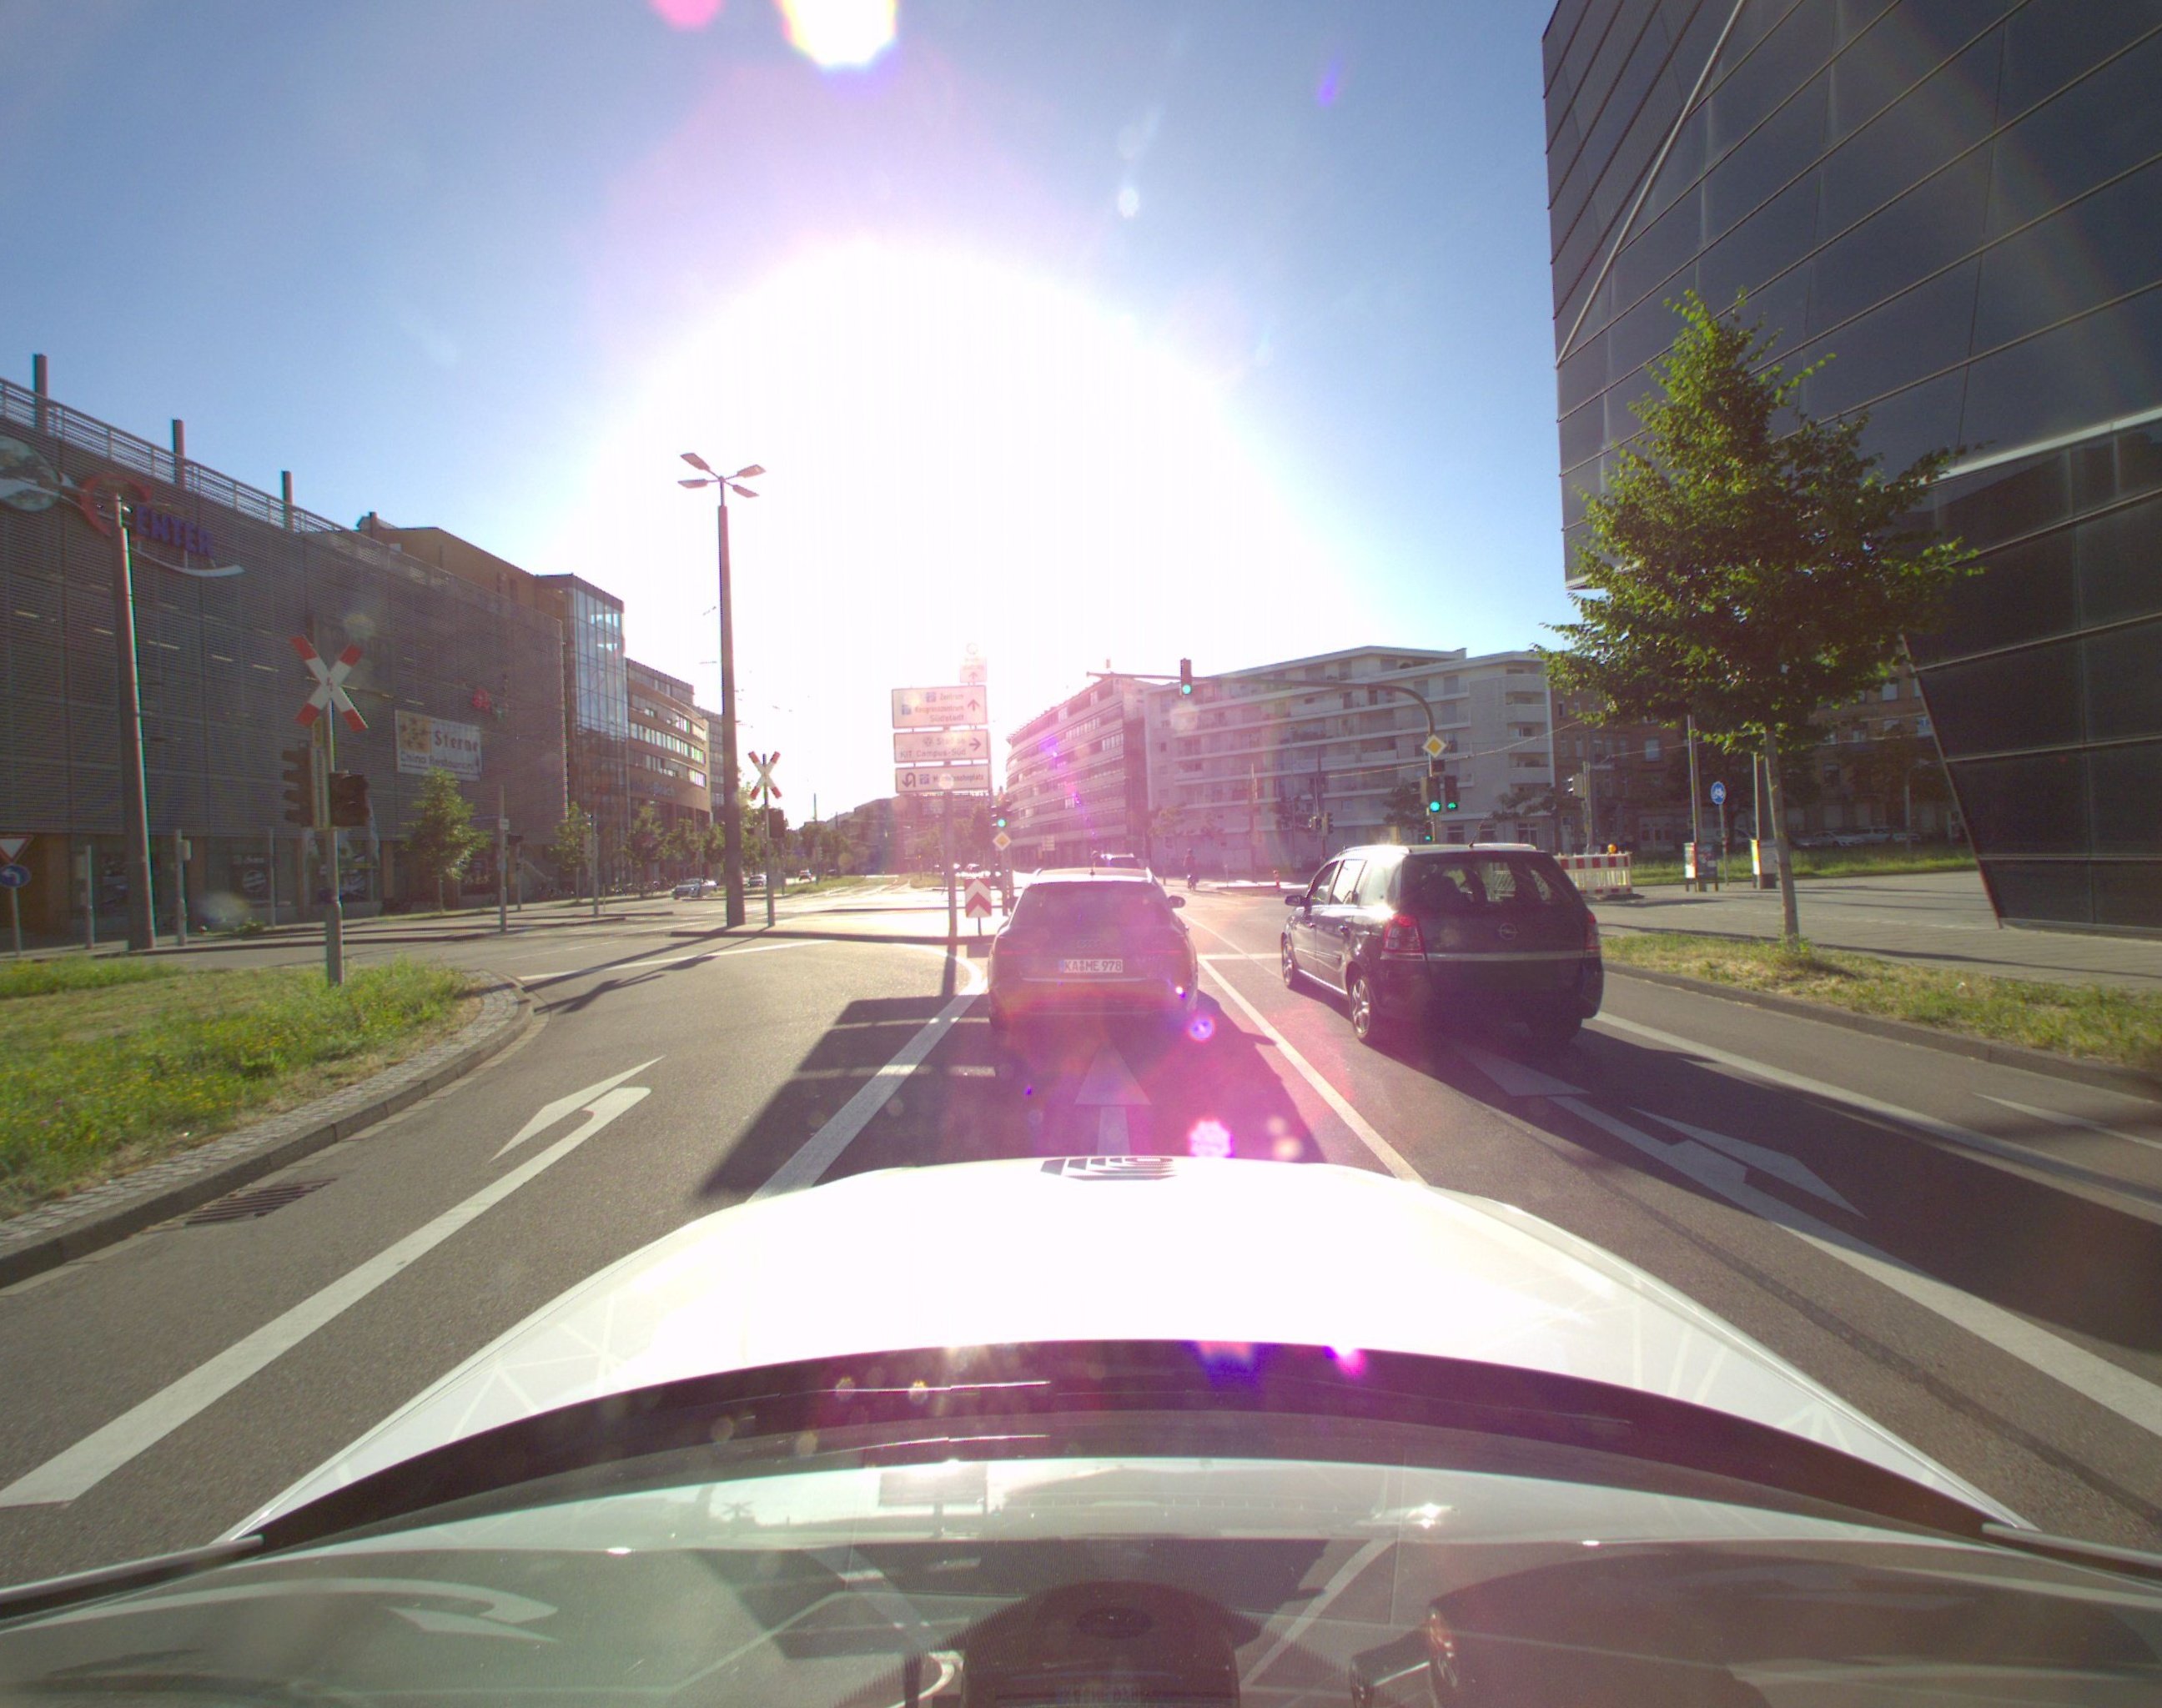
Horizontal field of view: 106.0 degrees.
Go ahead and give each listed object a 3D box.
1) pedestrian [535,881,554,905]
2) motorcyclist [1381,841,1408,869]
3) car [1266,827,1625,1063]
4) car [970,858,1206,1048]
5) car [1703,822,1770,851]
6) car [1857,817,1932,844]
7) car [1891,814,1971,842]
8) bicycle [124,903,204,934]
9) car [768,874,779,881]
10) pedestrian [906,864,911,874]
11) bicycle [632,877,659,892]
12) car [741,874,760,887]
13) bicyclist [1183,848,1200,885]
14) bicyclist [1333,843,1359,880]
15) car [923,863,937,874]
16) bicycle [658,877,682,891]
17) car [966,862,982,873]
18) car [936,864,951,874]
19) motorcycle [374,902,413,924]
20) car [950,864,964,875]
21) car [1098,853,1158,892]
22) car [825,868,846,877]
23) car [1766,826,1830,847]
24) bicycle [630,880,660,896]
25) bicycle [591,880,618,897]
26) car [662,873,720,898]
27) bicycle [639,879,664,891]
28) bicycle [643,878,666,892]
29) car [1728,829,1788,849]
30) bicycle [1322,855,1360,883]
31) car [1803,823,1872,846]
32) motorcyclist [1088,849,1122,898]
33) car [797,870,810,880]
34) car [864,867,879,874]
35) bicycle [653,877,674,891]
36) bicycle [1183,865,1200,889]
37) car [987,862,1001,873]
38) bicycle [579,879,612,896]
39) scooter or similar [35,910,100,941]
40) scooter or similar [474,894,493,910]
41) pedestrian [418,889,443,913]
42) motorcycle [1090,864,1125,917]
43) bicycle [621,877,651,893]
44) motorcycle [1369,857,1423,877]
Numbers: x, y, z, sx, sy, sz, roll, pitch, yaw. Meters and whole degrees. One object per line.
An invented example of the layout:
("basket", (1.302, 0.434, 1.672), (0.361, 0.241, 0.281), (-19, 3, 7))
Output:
("pedestrian", (-42.620, 3.101, 64.673), (0.823, 1.824, 0.905), (-3, -2, 3))
("motorcyclist", (17.170, 0.047, 44.640), (0.924, 1.481, 1.169), (-2, -1, -7))
("car", (3.108, 0.678, 8.012), (1.739, 1.696, 4.262), (0, -1, 2))
("car", (0.100, 0.788, 8.374), (1.835, 1.454, 4.001), (-1, 0, 1))
("car", (58.789, -1.549, 73.154), (4.543, 2.310, 2.013), (-3, -1, 38))
("car", (60.990, -1.716, 61.137), (1.981, 1.772, 4.012), (-3, -1, 11))
("car", (63.430, -1.902, 60.873), (1.982, 1.772, 4.009), (-3, -1, 8))
("bicycle", (-41.934, 2.928, 37.280), (0.796, 1.220, 2.418), (-2, -1, 5))
("car", (-75.628, 5.812, 200.322), (2.005, 1.684, 3.964), (-2, -1, -27))
("pedestrian", (-32.102, 2.716, 151.510), (0.904, 1.824, 0.825), (-3, -2, -16))
("bicycle", (-47.315, 3.294, 88.549), (2.591, 1.433, 0.773), (-3, -1, 10))
("car", (-38.702, 3.067, 95.422), (1.903, 1.407, 3.968), (-3, 0, -24))
("bicyclist", (5.115, 0.574, 37.788), (0.651, 1.642, 0.973), (-2, 0, 5))
("bicyclist", (12.546, 0.341, 38.550), (0.767, 1.706, 0.926), (-2, -1, -13))
("car", (-26.410, 2.600, 142.541), (1.998, 1.706, 3.977), (-3, -1, -17))
("bicycle", (-47.439, 3.461, 94.043), (2.405, 1.433, 0.791), (-3, -1, 10))
("car", (-17.743, 2.293, 135.304), (1.999, 1.596, 3.976), (-3, -1, -17))
("car", (-24.242, 2.682, 143.283), (1.998, 1.706, 3.977), (-3, -1, -17))
("motorcycle", (-41.894, 3.572, 49.648), (0.673, 1.238, 1.893), (-3, -1, 1))
("car", (-20.982, 2.607, 137.685), (1.996, 1.596, 3.981), (-3, -1, -14))
("car", (2.117, 0.810, 38.227), (2.002, 1.715, 4.360), (-1, 0, -8))
("car", (-51.440, 3.860, 170.595), (1.975, 1.706, 4.023), (-4, -1, 25))
("car", (56.238, -1.346, 63.994), (1.981, 1.354, 4.012), (-3, -1, 11))
("bicycle", (-43.931, 3.406, 82.031), (2.546, 1.433, 0.907), (-3, -1, 10))
("bicycle", (-43.811, 3.147, 74.886), (2.070, 1.433, 0.863), (-3, -1, 10))
("car", (-27.964, 2.222, 58.563), (1.988, 1.545, 4.528), (-2, 0, -1))
("bicycle", (-47.430, 3.420, 89.978), (2.399, 1.236, 0.747), (-3, -1, 10))
("bicycle", (-47.551, 3.407, 90.831), (2.231, 1.433, 0.720), (-3, -1, 10))
("car", (54.060, -1.168, 65.132), (1.981, 1.354, 4.012), (-3, -1, 11))
("bicycle", (12.448, 0.708, 39.025), (0.767, 1.262, 2.072), (-2, -1, -13))
("car", (58.379, -1.488, 62.941), (1.981, 1.486, 4.012), (-3, -1, 11))
("motorcyclist", (0.657, 0.531, 22.694), (0.860, 1.326, 0.681), (-2, -1, -1))
("car", (-47.573, 3.557, 139.630), (1.998, 1.640, 4.386), (-2, -1, -17))
("car", (-48.946, 3.844, 190.545), (1.985, 1.640, 4.415), (-2, -1, 3))
("bicycle", (-47.601, 3.457, 92.871), (2.125, 1.433, 0.761), (-3, -1, 10))
("bicycle", (5.130, 1.054, 37.784), (0.651, 1.043, 1.932), (-2, 0, 5))
("car", (-15.775, 2.442, 147.233), (1.996, 1.838, 3.981), (-3, -1, -14))
("bicycle", (-44.012, 3.044, 73.818), (2.355, 1.433, 1.079), (-3, -1, 10))
("scooter or similar", (-43.841, 3.067, 35.240), (0.790, 1.207, 1.575), (-3, -2, 2))
("scooter or similar", (-43.022, 3.445, 58.627), (0.419, 1.110, 1.152), (-3, -2, 2))
("pedestrian", (-44.386, 3.195, 55.606), (0.984, 1.566, 0.829), (-3, -2, 1))
("motorcycle", (0.716, 0.988, 22.772), (0.860, 1.393, 1.893), (-2, -1, -1))
("bicycle", (-43.605, 3.070, 79.779), (2.546, 1.433, 0.907), (-3, -1, 10))
("motorcycle", (17.243, 0.697, 44.634), (2.451, 1.000, 1.168), (-2, -1, -8))
